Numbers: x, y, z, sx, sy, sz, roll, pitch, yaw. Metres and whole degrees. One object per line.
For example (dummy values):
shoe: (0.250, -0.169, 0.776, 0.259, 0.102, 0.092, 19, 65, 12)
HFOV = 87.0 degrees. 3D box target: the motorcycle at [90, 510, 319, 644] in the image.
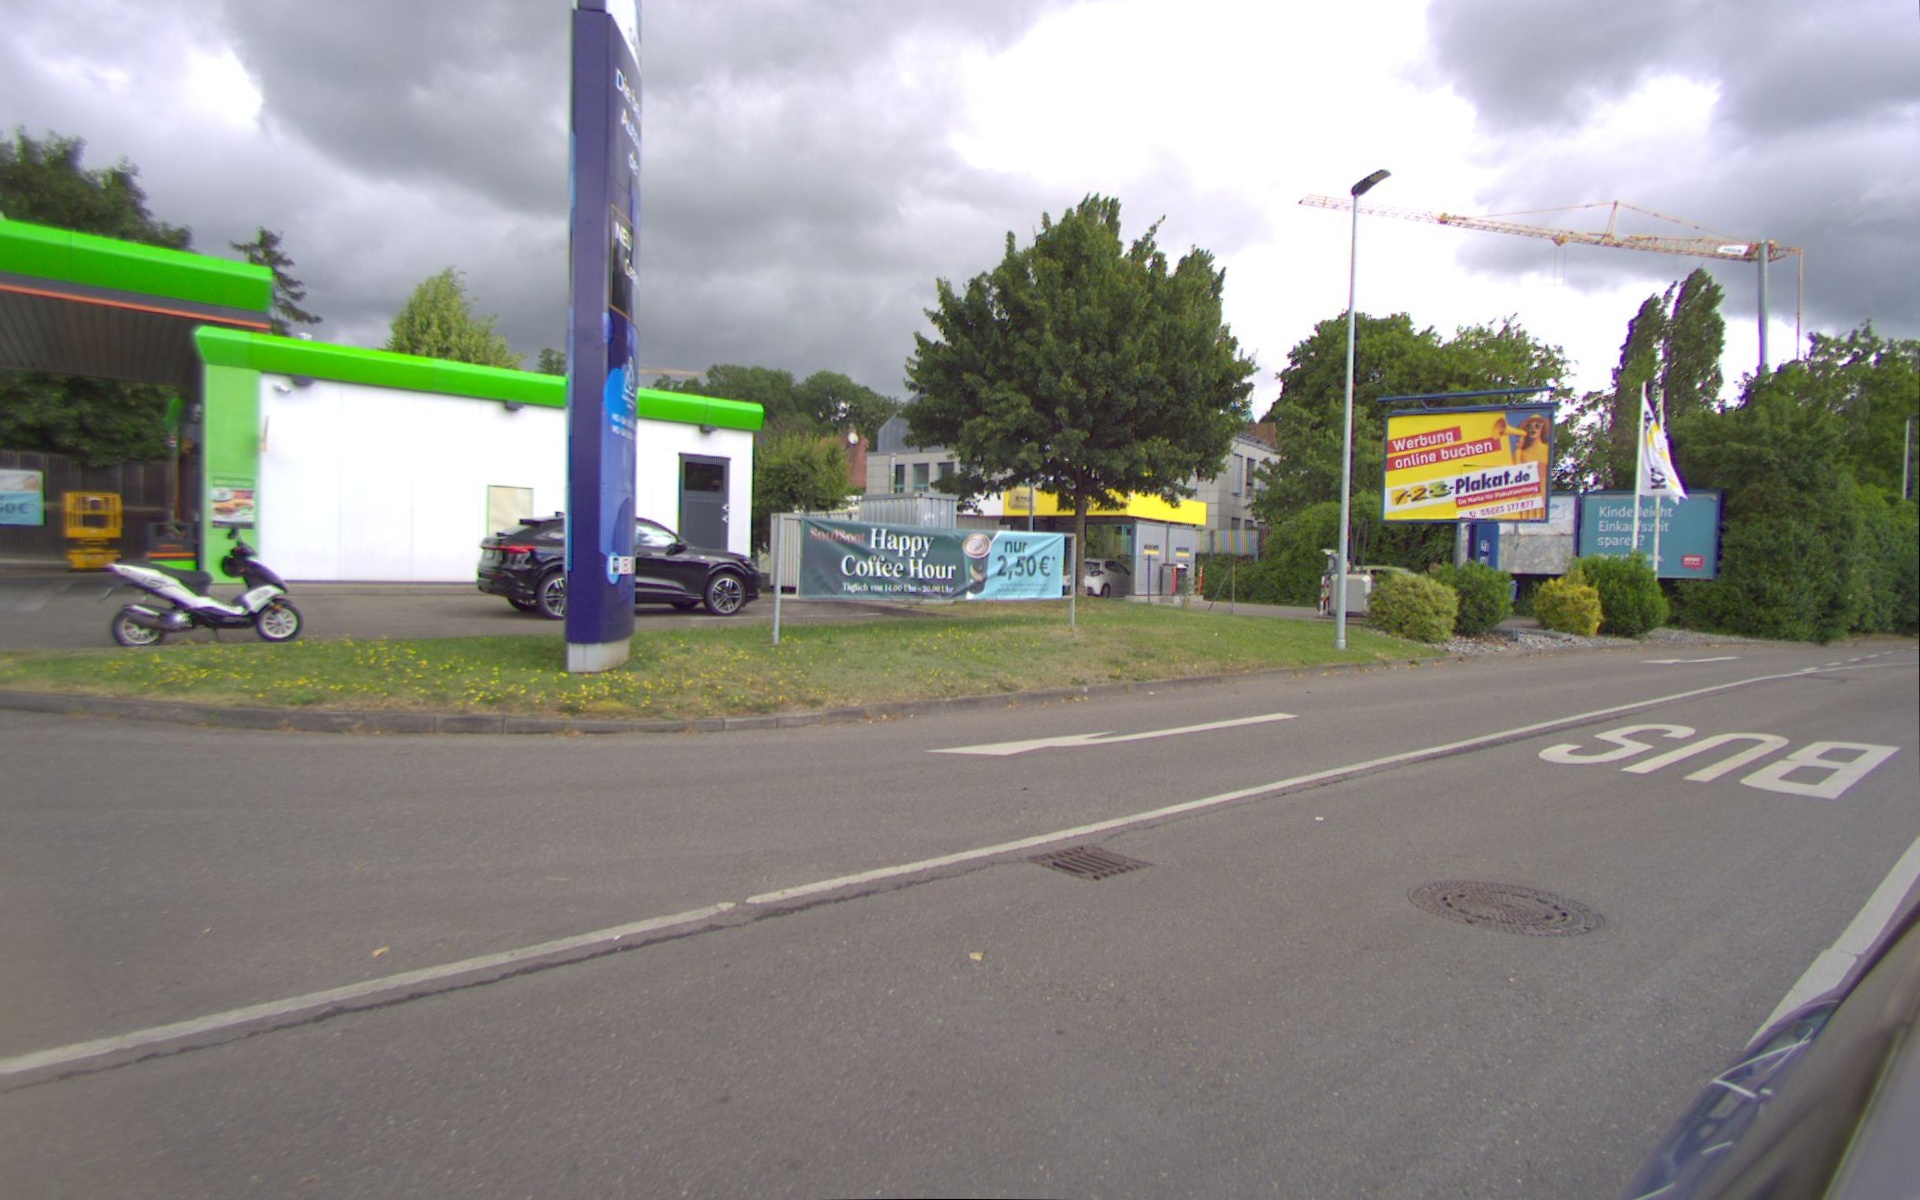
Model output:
motorcycle: (-8.270, -0.255, 11.130, 1.955, 1.347, 0.857, 0, 2, -41)

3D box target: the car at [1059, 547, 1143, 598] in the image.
car: (5.016, -0.963, 35.736, 1.620, 1.660, 3.490, 3, 2, 32)

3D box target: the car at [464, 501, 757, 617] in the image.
car: (-5.739, -0.694, 16.869, 4.260, 1.694, 1.825, -1, 5, -39)

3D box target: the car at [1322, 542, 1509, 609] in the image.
car: (12.685, -0.705, 28.236, 4.017, 1.676, 2.900, 4, 3, 43)
